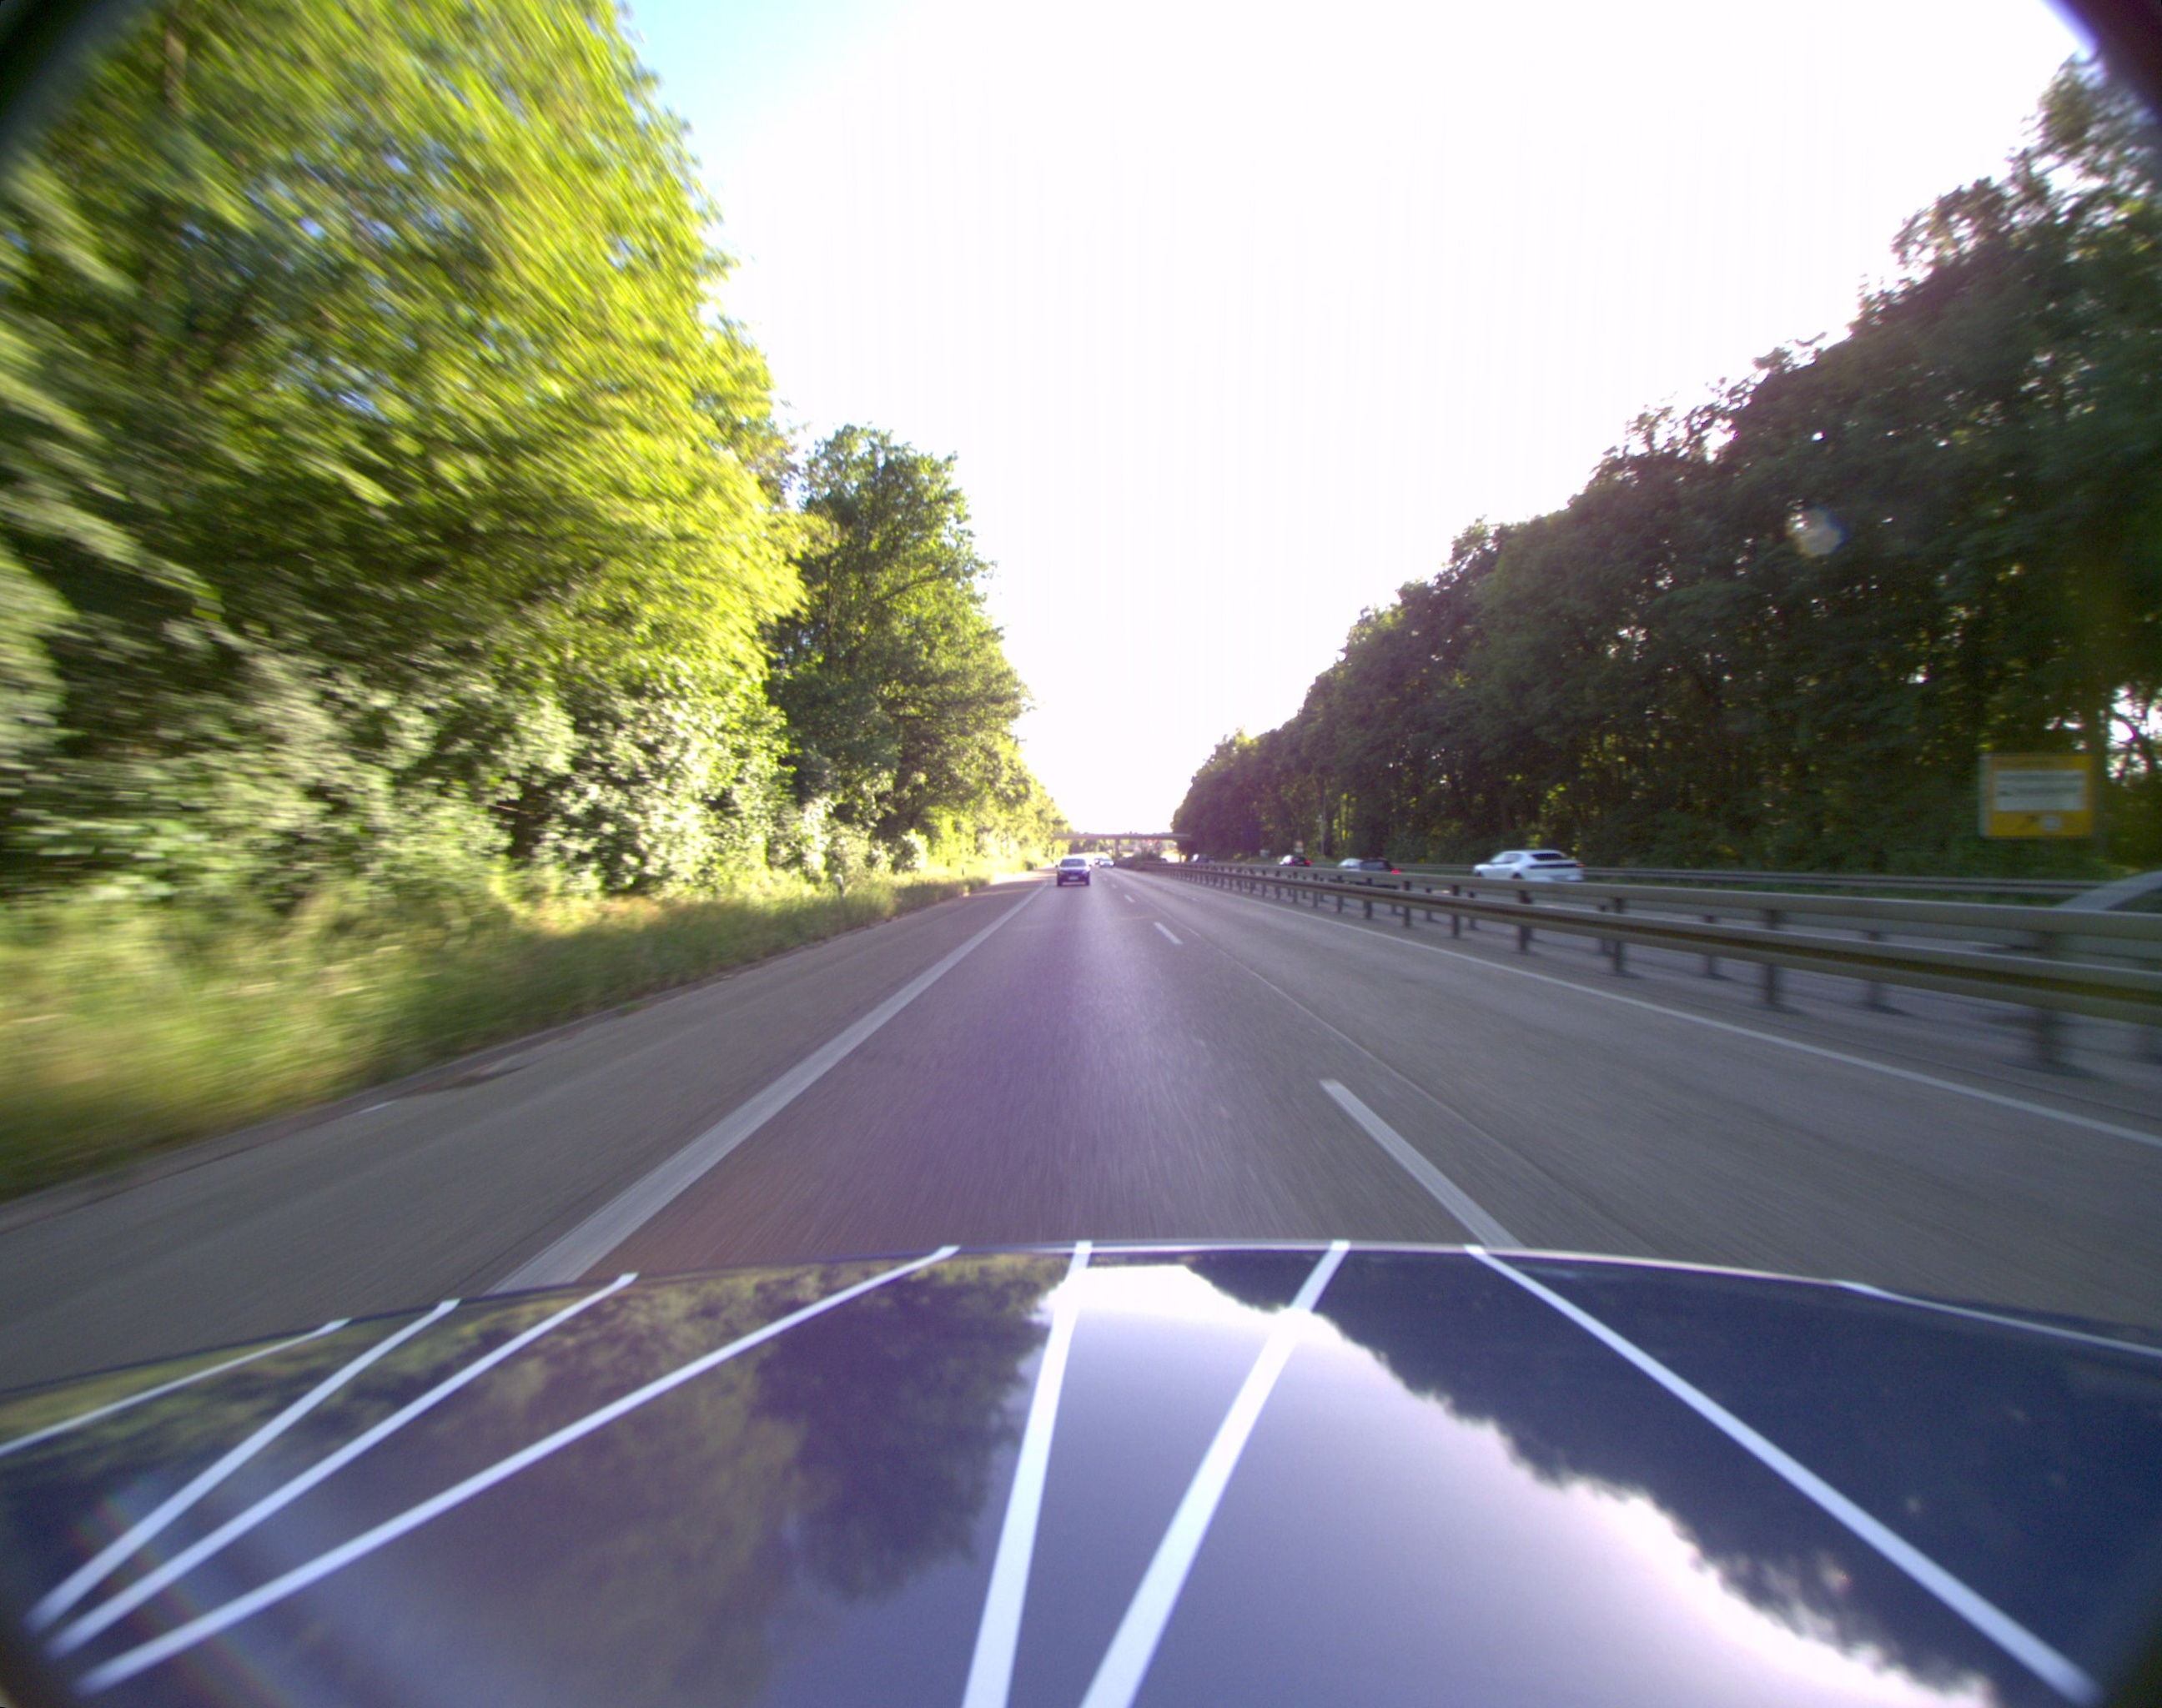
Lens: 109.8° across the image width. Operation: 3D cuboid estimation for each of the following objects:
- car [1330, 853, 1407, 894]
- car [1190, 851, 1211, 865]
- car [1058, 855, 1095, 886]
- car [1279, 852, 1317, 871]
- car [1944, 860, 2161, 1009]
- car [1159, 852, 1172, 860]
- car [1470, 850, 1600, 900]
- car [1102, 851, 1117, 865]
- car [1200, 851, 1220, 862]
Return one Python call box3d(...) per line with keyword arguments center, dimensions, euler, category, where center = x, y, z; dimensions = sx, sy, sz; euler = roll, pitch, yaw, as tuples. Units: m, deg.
box3d(center=(11.449, 0.732, 30.515), dimensions=(1.728, 1.459, 4.097), euler=(1, 1, 3), category="car")
box3d(center=(15.255, 0.471, 97.199), dimensions=(1.998, 1.689, 4.907), euler=(1, 1, 0), category="car")
box3d(center=(-0.209, 0.865, 41.416), dimensions=(1.712, 1.565, 3.423), euler=(-2, 0, 4), category="car")
box3d(center=(18.135, 0.579, 63.719), dimensions=(1.998, 1.477, 3.999), euler=(1, 1, 0), category="car")
box3d(center=(11.382, 0.841, 7.180), dimensions=(1.728, 1.365, 4.095), euler=(1, 2, 0), category="car")
box3d(center=(15.716, 0.325, 141.897), dimensions=(1.998, 1.531, 4.118), euler=(1, 1, 0), category="car")
box3d(center=(16.091, 0.670, 27.291), dimensions=(1.998, 1.614, 4.790), euler=(1, 1, 3), category="car")
box3d(center=(4.027, 0.562, 106.377), dimensions=(1.998, 1.793, 4.000), euler=(1, 1, 1), category="car")
box3d(center=(18.812, 0.360, 111.009), dimensions=(1.998, 1.591, 4.706), euler=(1, 1, 0), category="car")
